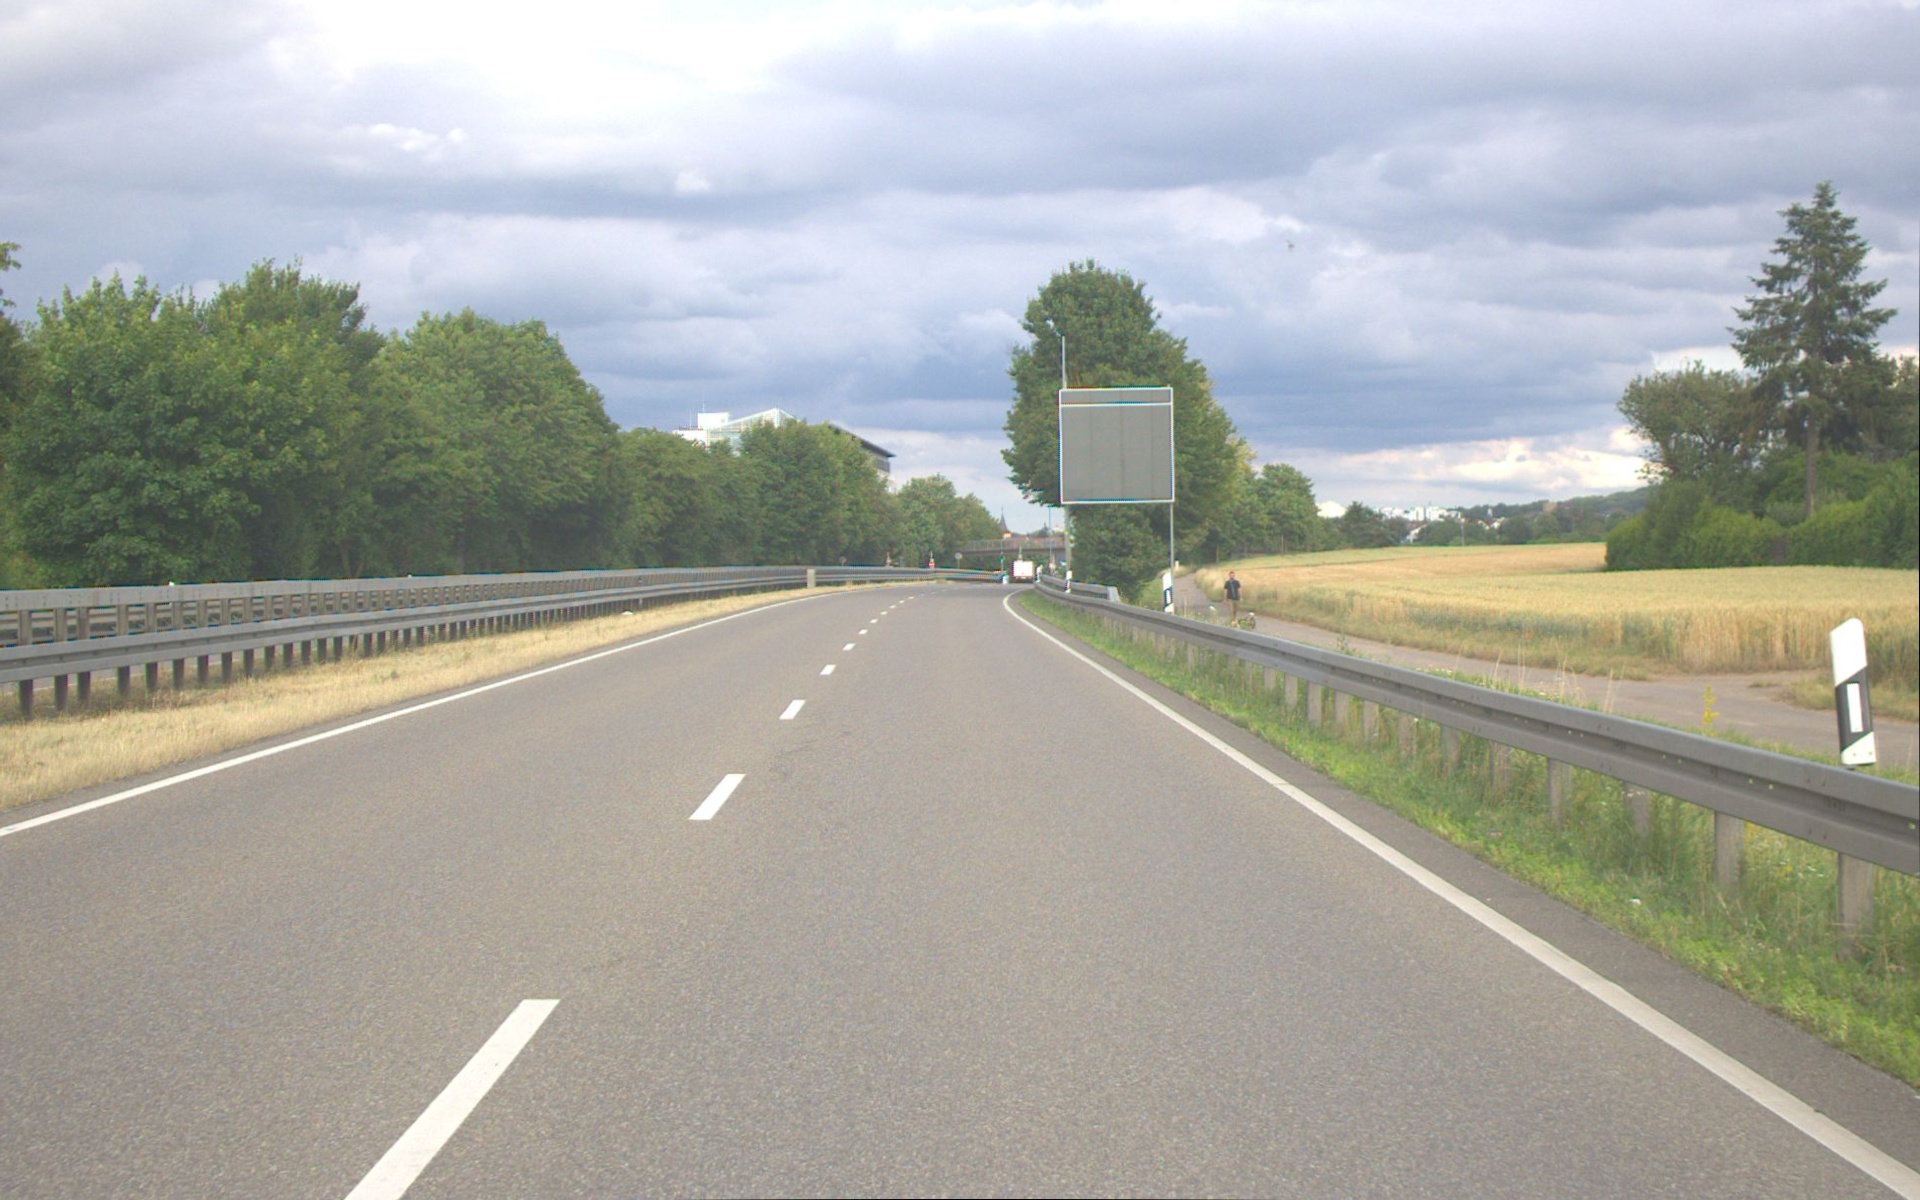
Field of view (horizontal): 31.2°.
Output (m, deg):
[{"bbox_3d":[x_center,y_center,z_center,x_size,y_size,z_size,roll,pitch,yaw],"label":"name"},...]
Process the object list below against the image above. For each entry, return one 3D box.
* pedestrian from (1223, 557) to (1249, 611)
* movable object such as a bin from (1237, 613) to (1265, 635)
[{"bbox_3d":[9.636,-0.570,119.940,0.771,1.861,0.940,1,0,0],"label":"pedestrian"},{"bbox_3d":[9.035,0.753,106.757,0.732,0.643,1.235,1,0,0],"label":"movable object such as a bin"}]
